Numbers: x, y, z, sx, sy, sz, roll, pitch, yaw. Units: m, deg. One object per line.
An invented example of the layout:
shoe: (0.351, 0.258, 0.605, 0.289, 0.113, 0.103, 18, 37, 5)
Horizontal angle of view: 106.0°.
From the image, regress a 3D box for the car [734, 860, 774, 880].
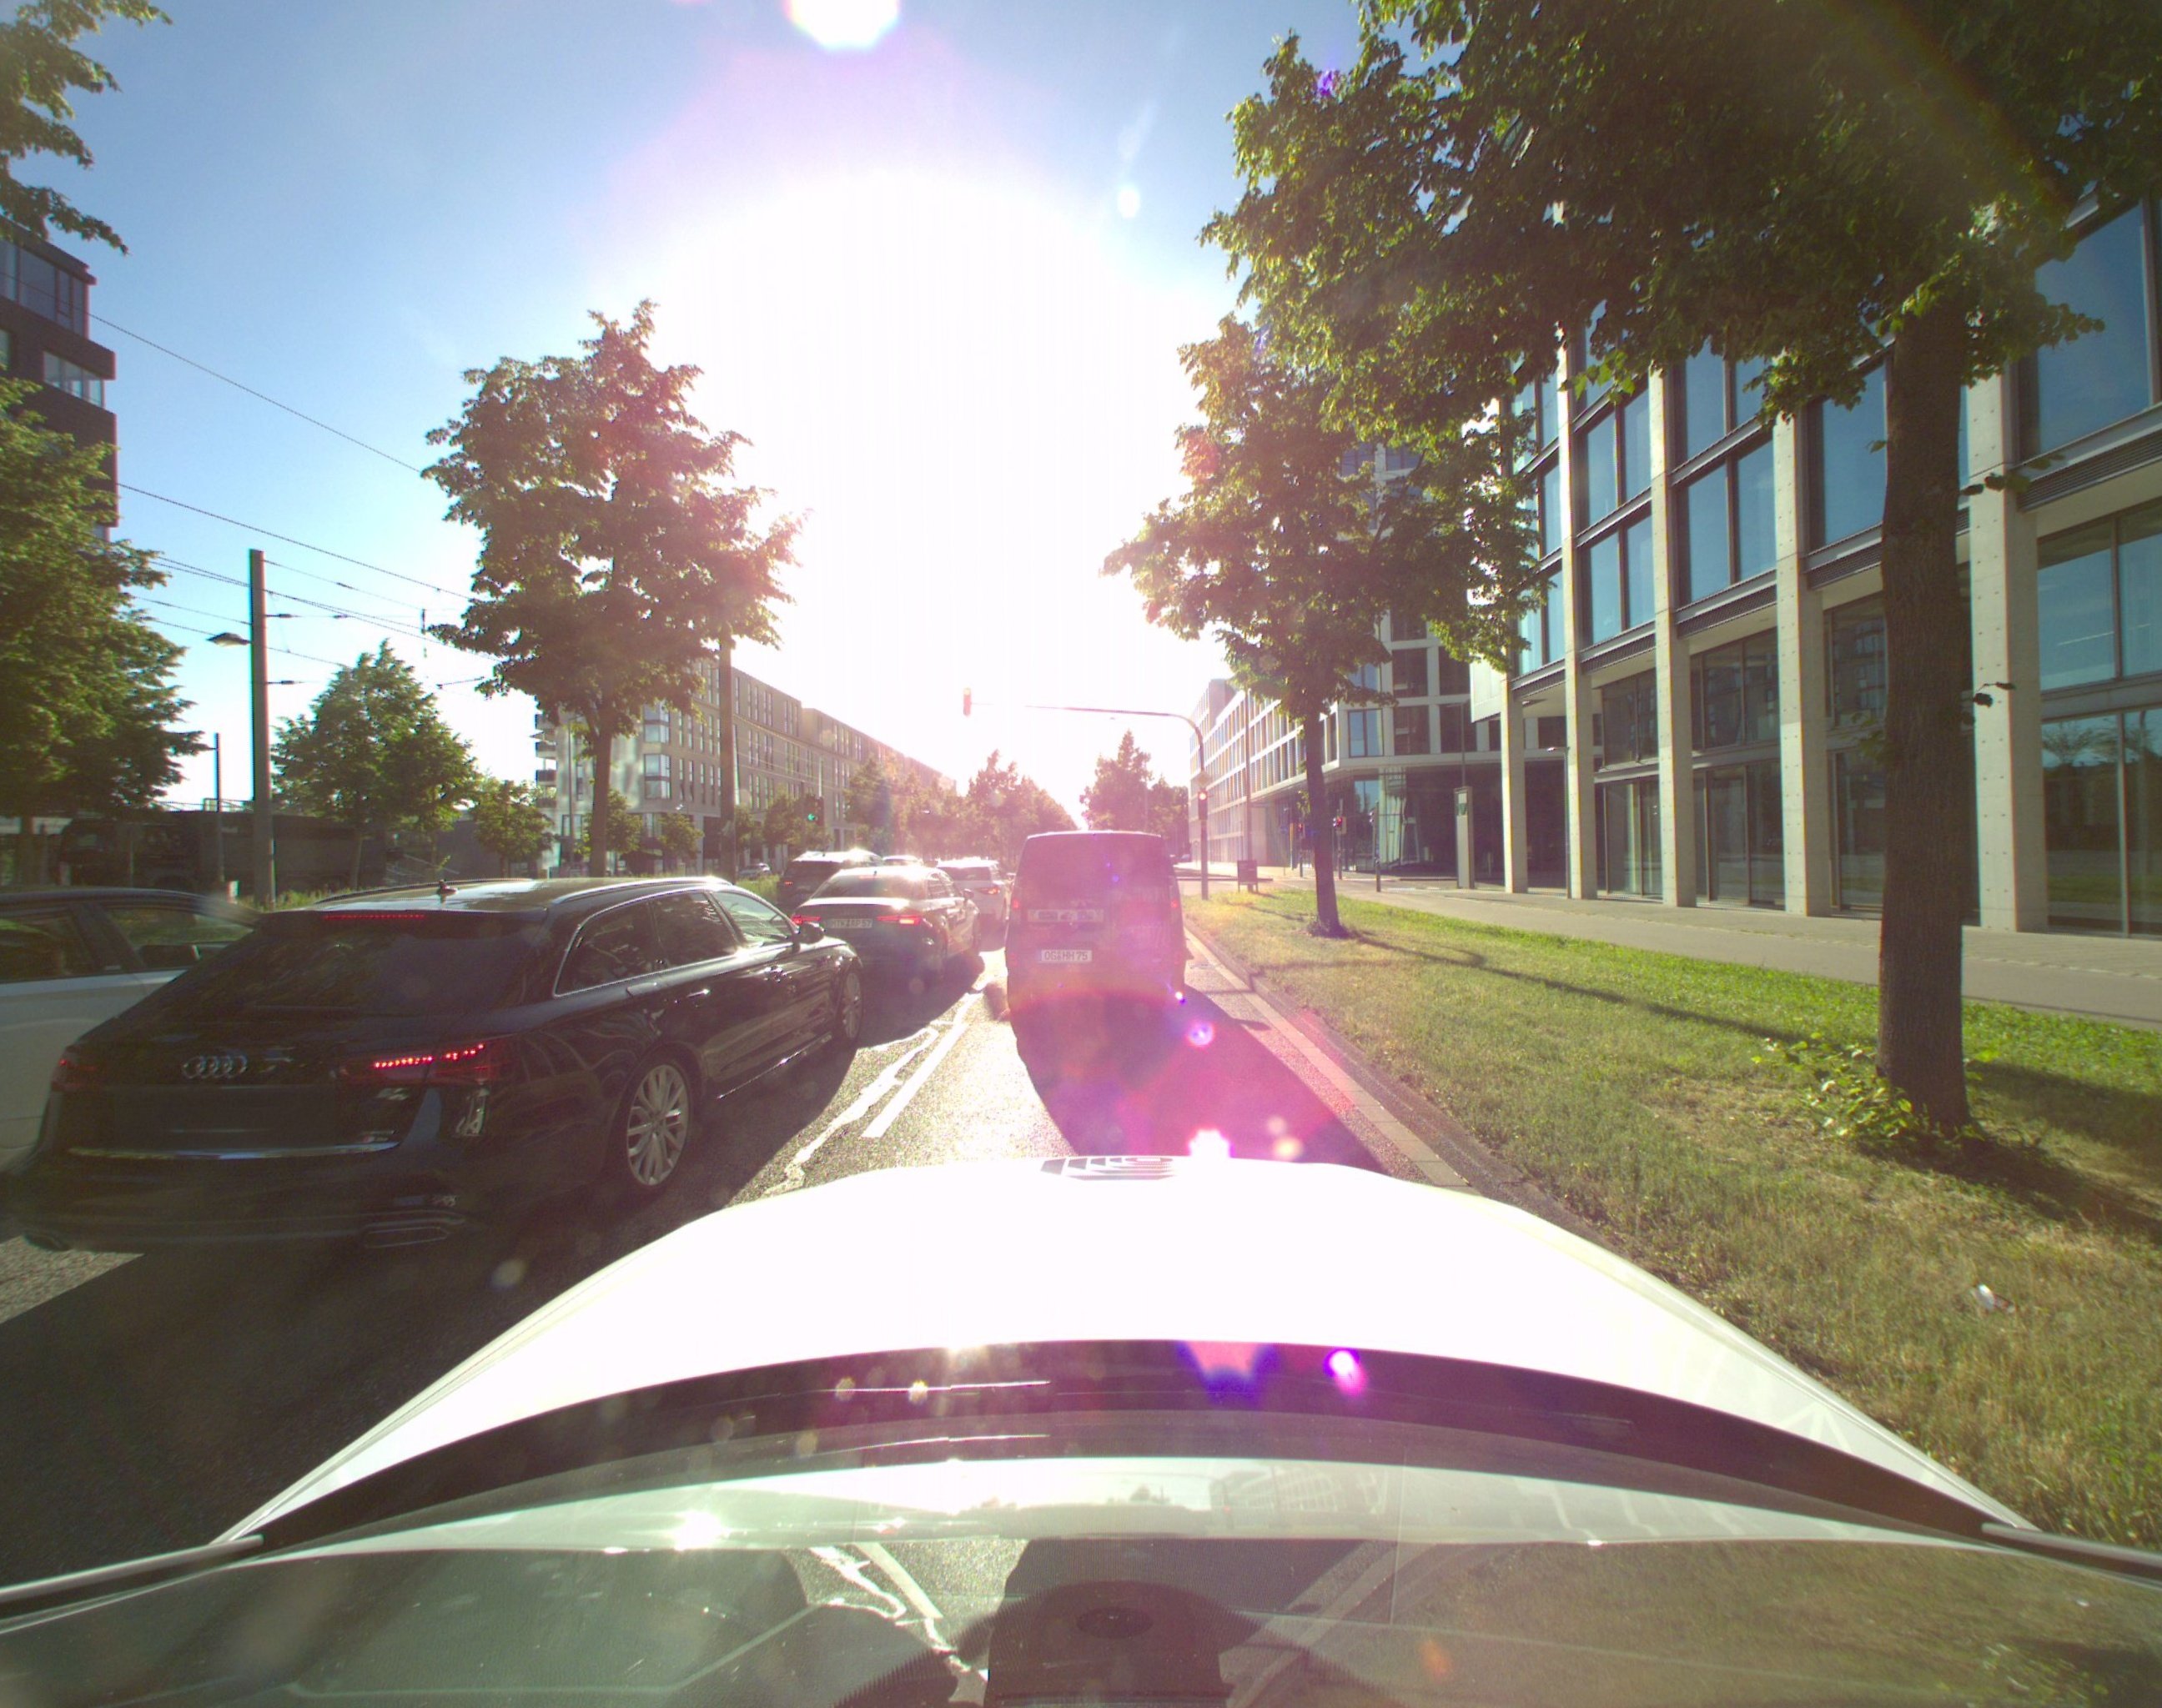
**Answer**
car: (-31.797, 1.545, 79.252, 1.986, 1.814, 4.372, -1, 0, 2)

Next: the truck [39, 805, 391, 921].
truck: (-33.627, 0.295, 32.653, 2.880, 3.853, 10.217, -1, 0, 2)

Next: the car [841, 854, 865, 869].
car: (-30.881, 1.002, 110.601, 1.986, 2.013, 4.002, -1, 0, 2)

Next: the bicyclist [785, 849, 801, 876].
bicyclist: (-22.740, 0.682, 64.311, 0.938, 2.092, 0.816, -1, 0, -4)

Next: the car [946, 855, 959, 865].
car: (-28.903, 1.349, 183.371, 1.986, 2.013, 4.002, -1, 0, 2)

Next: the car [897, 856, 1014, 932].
car: (-2.603, 0.790, 17.775, 1.797, 1.426, 3.902, -1, 0, 2)

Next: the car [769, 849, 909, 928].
car: (-5.224, 0.665, 18.229, 1.794, 1.447, 4.567, 1, 1, -1)

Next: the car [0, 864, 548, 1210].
car: (-5.549, 0.833, 4.724, 1.792, 1.447, 4.570, -1, 0, 1)

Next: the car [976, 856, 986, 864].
car: (-27.446, 1.593, 223.820, 1.986, 2.013, 4.002, -1, 0, 2)

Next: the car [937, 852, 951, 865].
car: (-28.437, 0.984, 169.297, 1.986, 2.607, 4.002, -1, 0, 2)

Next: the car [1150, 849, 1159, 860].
car: (17.888, 0.053, 198.188, 1.986, 2.497, 4.988, -1, 0, 2)

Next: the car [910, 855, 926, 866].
car: (-30.108, 1.148, 150.291, 1.986, 2.013, 4.002, -1, 0, 2)

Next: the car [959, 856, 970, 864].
car: (-28.614, 1.445, 200.190, 1.986, 2.013, 4.002, -1, 0, 2)

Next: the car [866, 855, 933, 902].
car: (-6.490, 0.832, 29.583, 1.797, 1.483, 4.558, 2, 0, -6)

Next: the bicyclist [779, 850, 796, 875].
bicyclist: (-23.767, 0.700, 65.944, 0.996, 1.947, 0.817, -1, 0, -2)

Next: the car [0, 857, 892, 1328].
car: (-2.753, 0.791, 5.159, 1.868, 1.484, 4.967, -1, 0, 1)

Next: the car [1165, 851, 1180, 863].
car: (14.322, 0.450, 127.786, 1.986, 1.782, 4.002, -1, 0, 2)

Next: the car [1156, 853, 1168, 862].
car: (15.963, 0.655, 160.485, 1.986, 1.782, 4.002, -1, 0, 2)

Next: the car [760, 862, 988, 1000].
car: (-2.515, 0.858, 11.062, 1.835, 1.426, 4.340, -1, 0, 2)

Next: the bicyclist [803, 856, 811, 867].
bicyclist: (-36.418, 0.982, 108.276, 0.674, 1.529, 0.714, -1, 0, 1)

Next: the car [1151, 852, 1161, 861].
car: (16.505, 0.570, 179.687, 1.986, 1.782, 4.002, -1, 0, 2)

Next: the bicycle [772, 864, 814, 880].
bicycle: (-22.717, 1.441, 64.295, 2.936, 1.190, 0.816, -1, 0, -4)

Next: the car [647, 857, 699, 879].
car: (-31.043, 1.047, 62.080, 1.758, 1.520, 4.002, -1, 0, 2)

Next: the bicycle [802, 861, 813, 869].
bicycle: (-36.409, 1.504, 108.417, 0.674, 0.988, 1.957, -1, 0, 2)

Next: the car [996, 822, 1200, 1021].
car: (0.217, 0.615, 9.434, 1.835, 1.780, 4.002, -1, 0, 2)

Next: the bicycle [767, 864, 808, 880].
bicycle: (-23.753, 1.461, 65.924, 2.934, 1.190, 0.817, -1, 0, -2)
